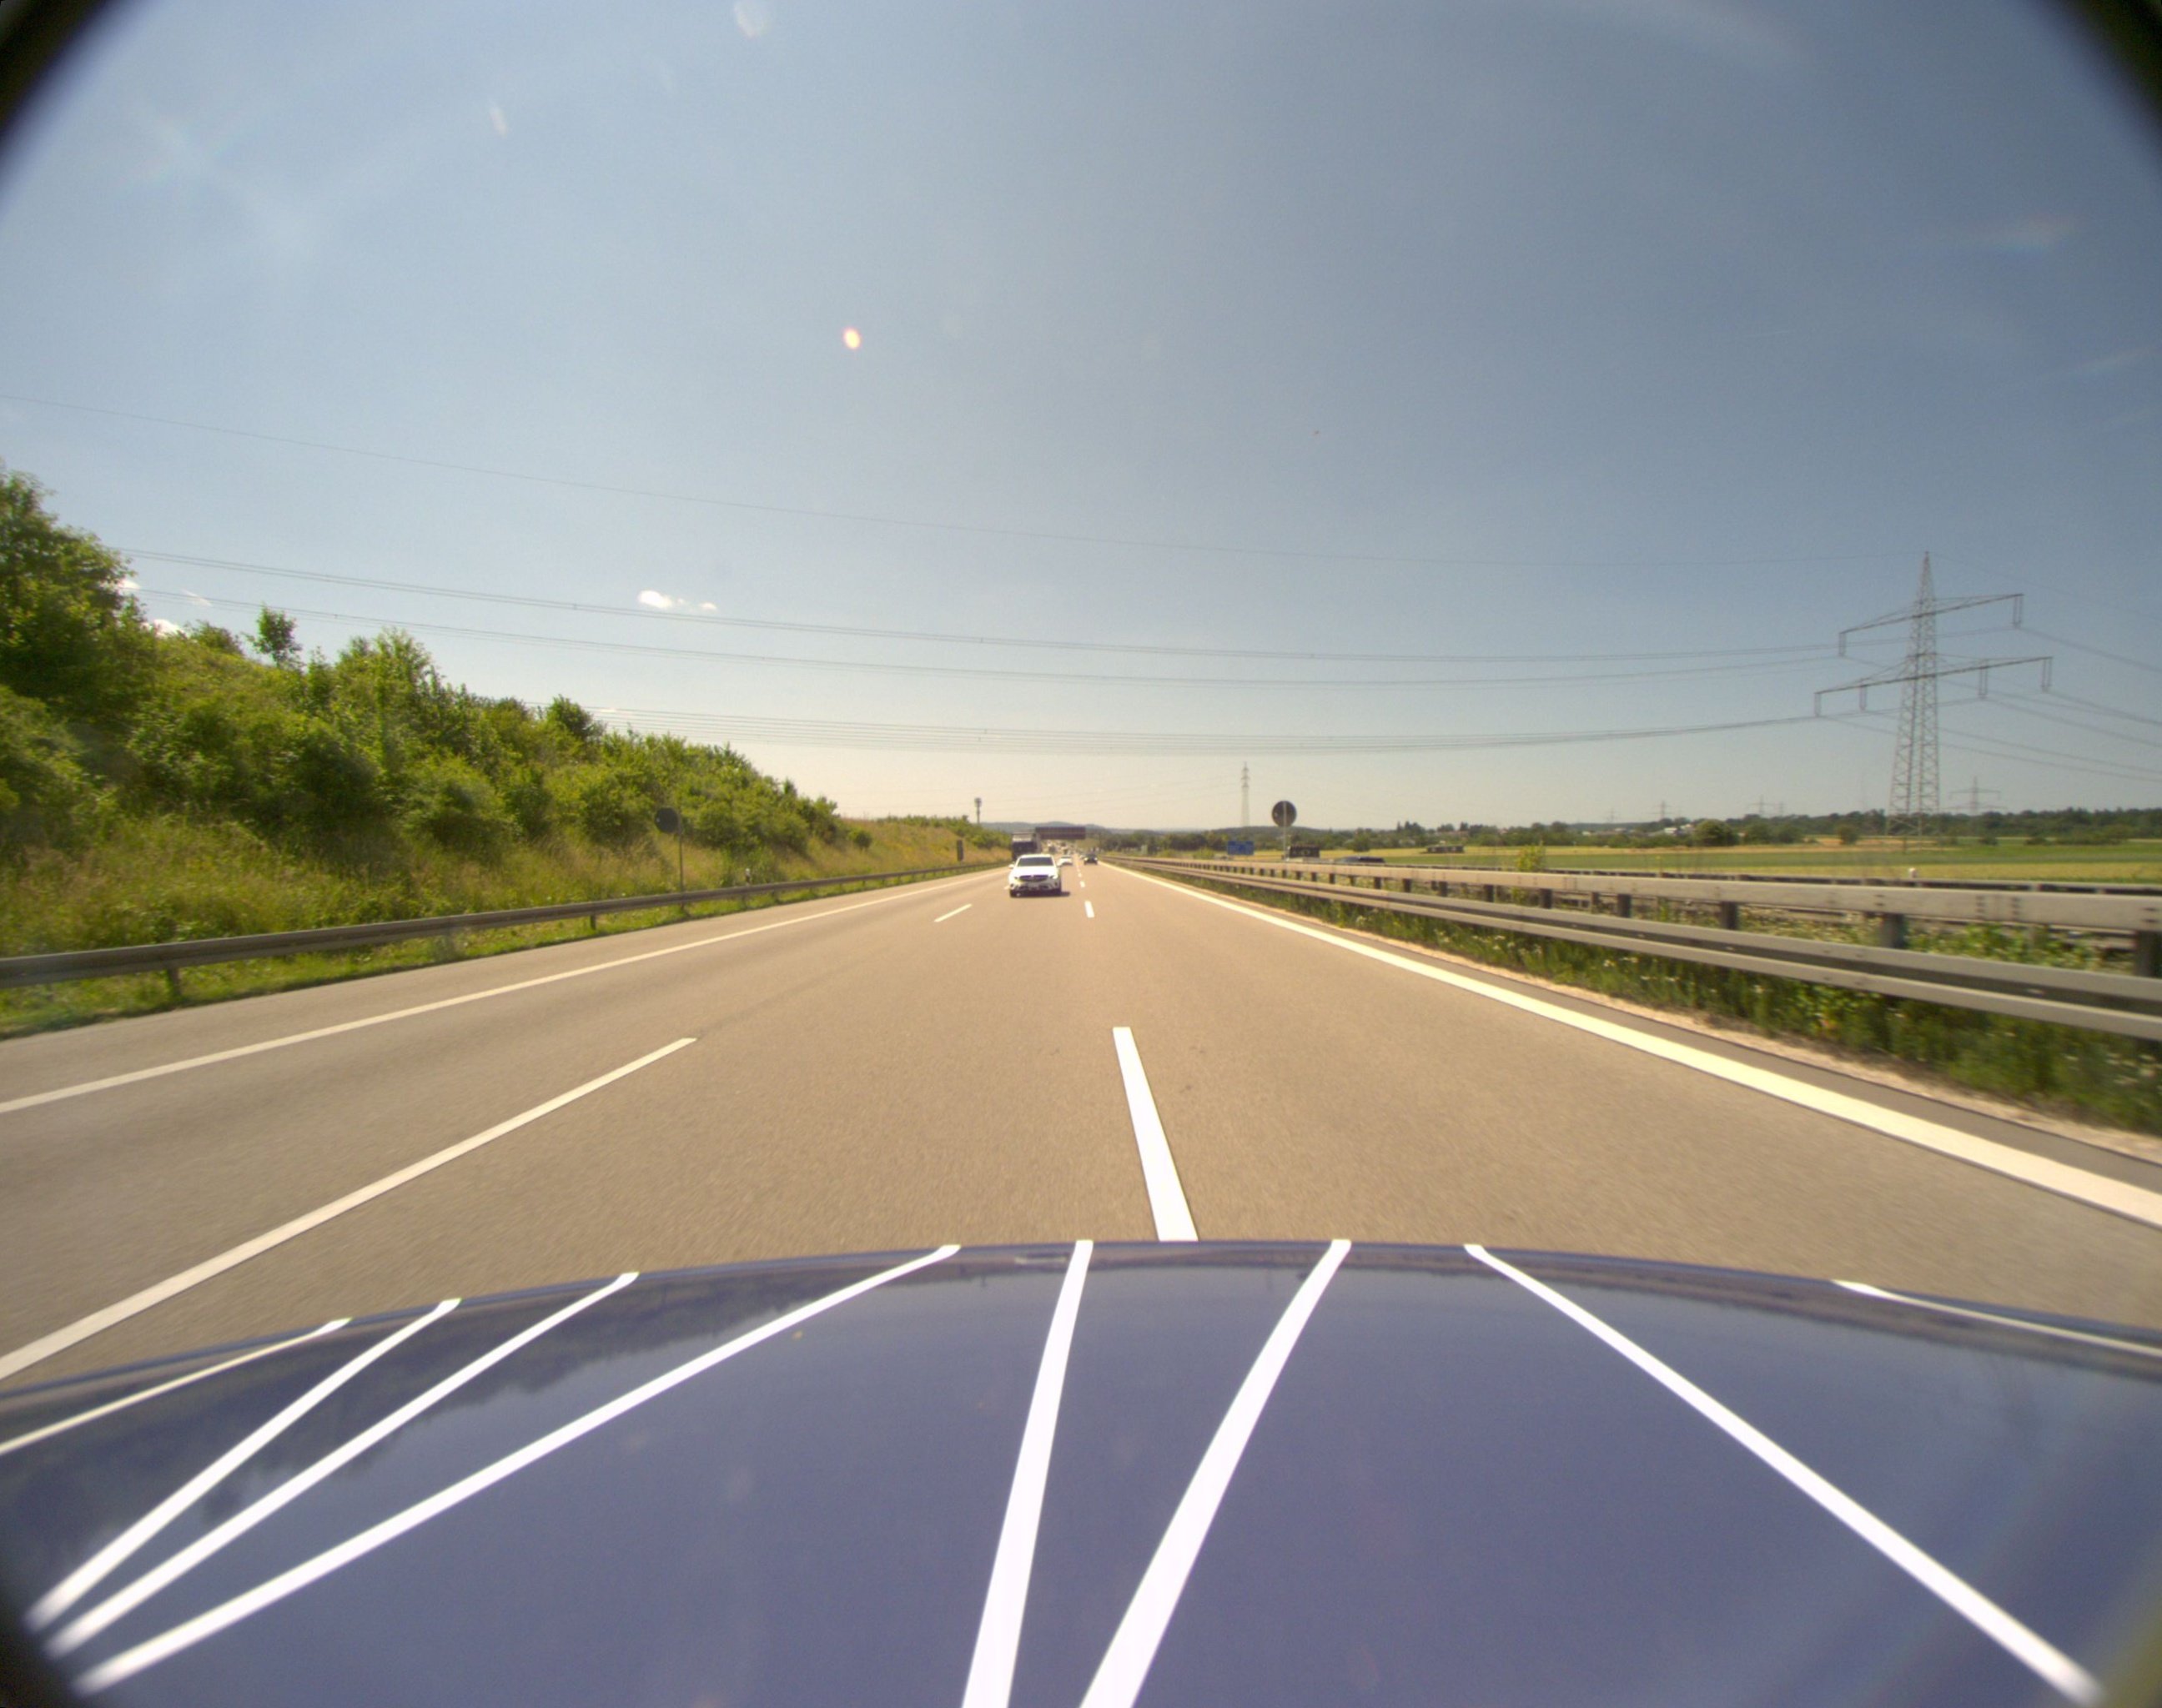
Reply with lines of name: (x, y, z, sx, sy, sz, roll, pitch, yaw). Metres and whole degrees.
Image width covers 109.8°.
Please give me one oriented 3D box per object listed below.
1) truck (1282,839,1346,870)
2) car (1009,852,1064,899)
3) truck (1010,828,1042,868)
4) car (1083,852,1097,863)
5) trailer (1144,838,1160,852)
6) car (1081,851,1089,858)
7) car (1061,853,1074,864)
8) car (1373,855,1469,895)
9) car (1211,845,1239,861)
truck: (15.427, -0.009, 50.646, 2.435, 1.826, 5.725, -2, 1, 0)
car: (-1.687, 0.783, 30.474, 1.919, 1.571, 5.229, -2, 1, -1)
truck: (-5.918, -0.680, 82.573, 2.759, 3.997, 6.787, -2, 1, 1)
car: (1.315, 0.458, 107.284, 1.751, 1.439, 3.999, -1, 1, -2)
trailer: (18.612, -2.378, 199.953, 2.761, 3.573, 12.533, -2, 1, -1)
car: (0.910, 0.083, 186.566, 1.751, 1.559, 3.998, -2, 1, -2)
car: (-1.876, 0.576, 105.358, 1.780, 1.425, 4.690, -2, 1, -1)
car: (11.136, 0.661, 25.151, 1.641, 1.118, 3.484, -2, 1, 1)
car: (14.823, -0.108, 78.462, 1.952, 1.534, 4.285, -2, 1, 0)
